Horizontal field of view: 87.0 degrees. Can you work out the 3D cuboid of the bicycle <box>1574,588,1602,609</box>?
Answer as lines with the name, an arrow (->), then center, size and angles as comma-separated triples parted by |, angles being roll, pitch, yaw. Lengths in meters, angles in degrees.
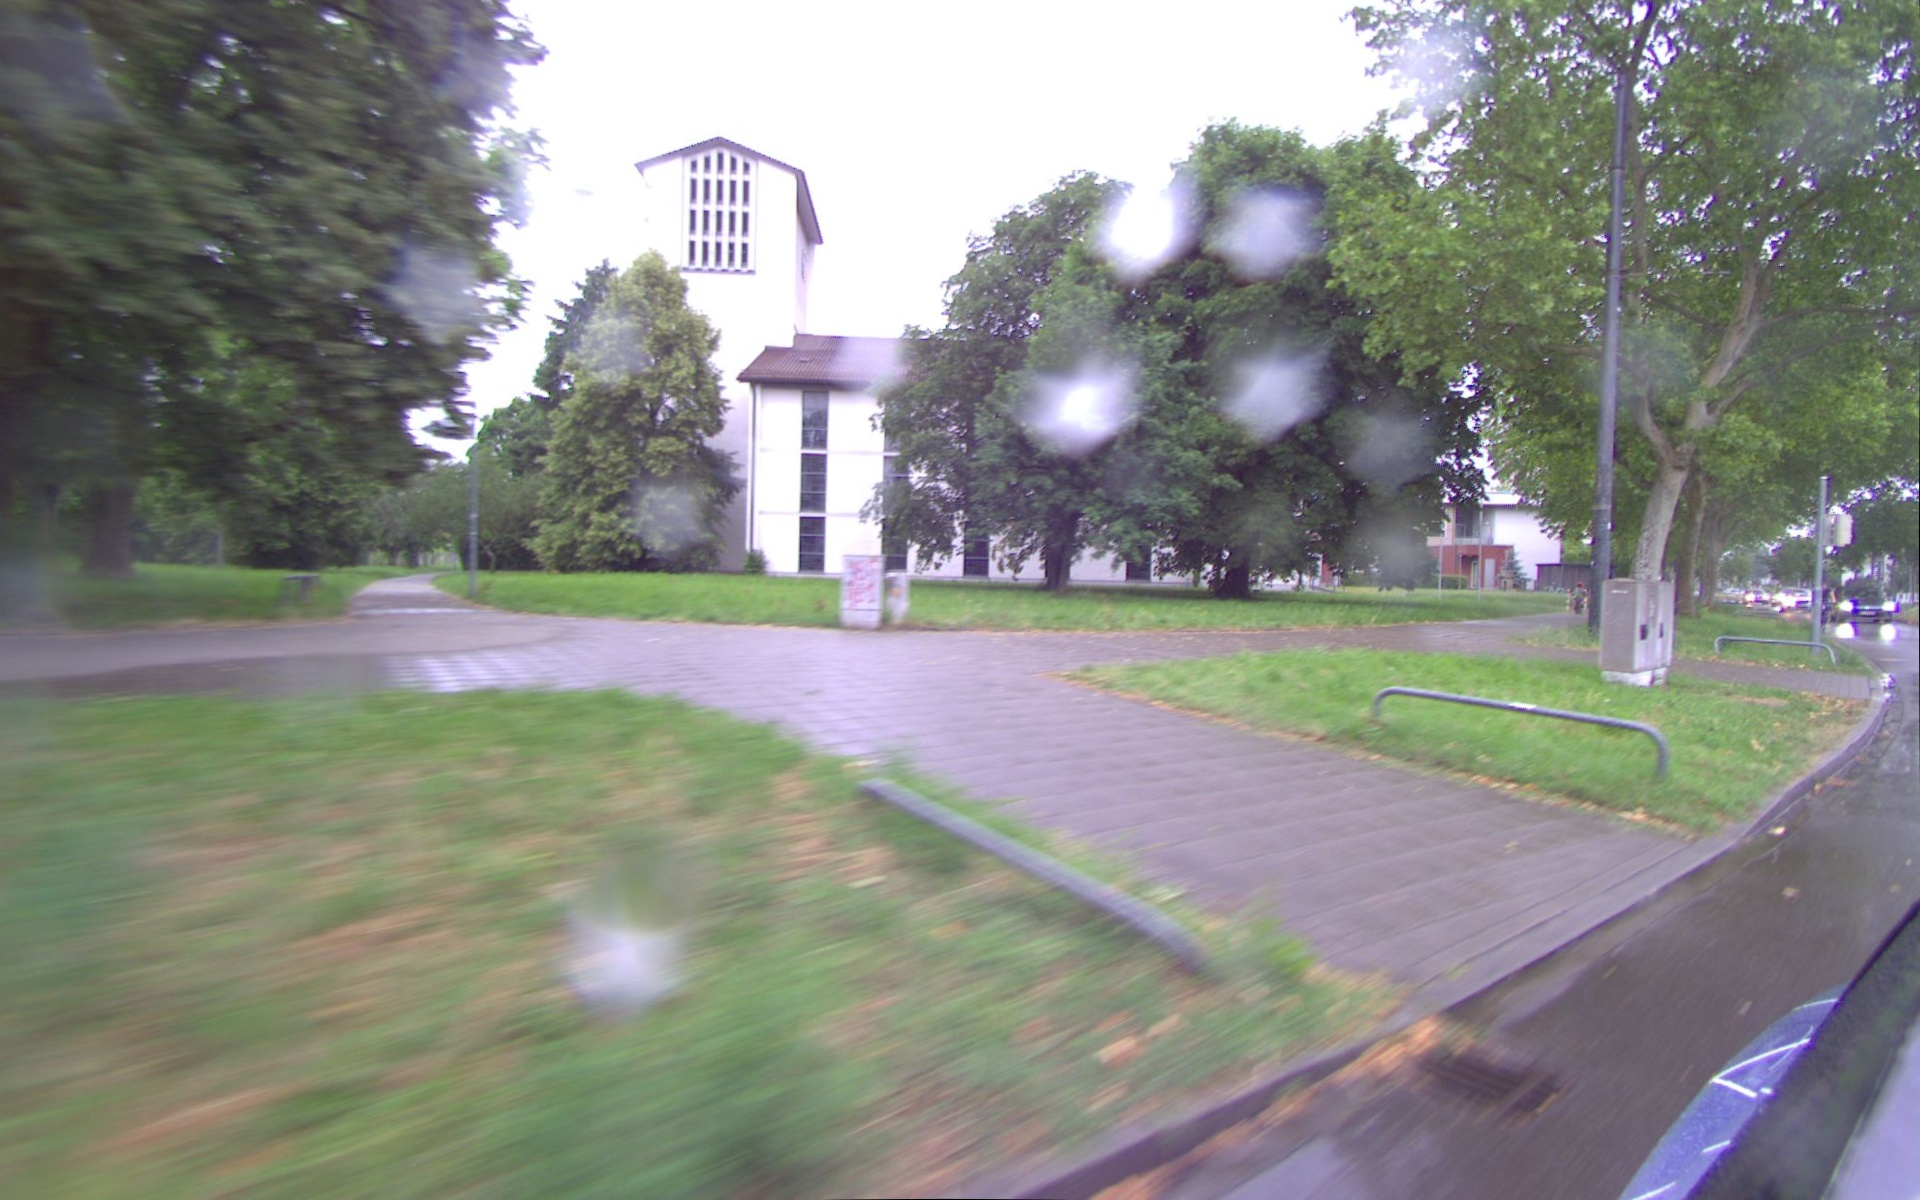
bicycle -> 22.600, -0.060, 36.415 | 1.433, 0.717, 0.487 | -1, 3, -42

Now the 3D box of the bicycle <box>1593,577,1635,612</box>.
bicycle -> 22.935, -0.186, 35.477 | 1.938, 1.156, 0.712 | 0, 2, -42

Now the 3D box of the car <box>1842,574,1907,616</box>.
car -> 40.135, -0.212, 44.496 | 1.758, 1.747, 3.882 | 0, 0, 37

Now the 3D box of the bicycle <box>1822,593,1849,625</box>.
bicycle -> 31.251, 0.309, 36.133 | 0.657, 1.026, 2.225 | 3, 3, 40

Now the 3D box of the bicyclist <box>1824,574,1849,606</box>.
bicyclist -> 31.234, -0.351, 36.076 | 0.619, 1.098, 0.615 | 3, 3, 40

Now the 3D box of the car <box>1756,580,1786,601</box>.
car -> 75.647, -0.916, 94.449 | 1.757, 1.746, 3.887 | 3, 3, 34

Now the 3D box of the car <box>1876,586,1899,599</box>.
car -> 118.174, -0.969, 128.939 | 1.749, 1.535, 3.804 | -1, 0, 36

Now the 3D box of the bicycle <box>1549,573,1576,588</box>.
bicycle -> 48.259, -1.558, 81.020 | 1.898, 1.135, 0.522 | 2, 3, -10

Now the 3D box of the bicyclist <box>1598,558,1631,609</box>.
bicyclist -> 22.930, -0.582, 35.450 | 0.941, 1.742, 0.712 | 0, 2, -42

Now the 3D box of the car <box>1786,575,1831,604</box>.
car -> 51.854, -0.666, 61.913 | 1.757, 1.746, 3.885 | 1, 2, 35

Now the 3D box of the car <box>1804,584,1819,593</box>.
car -> 150.465, -1.999, 178.773 | 1.749, 1.535, 3.804 | -1, 0, 36

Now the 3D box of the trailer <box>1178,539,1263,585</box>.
trailer -> 14.038, -2.038, 54.640 | 3.942, 2.337, 1.894 | 2, 2, -2

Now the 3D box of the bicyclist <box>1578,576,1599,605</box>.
bicyclist -> 22.607, -0.345, 36.410 | 0.581, 1.051, 0.488 | -1, 2, -42
